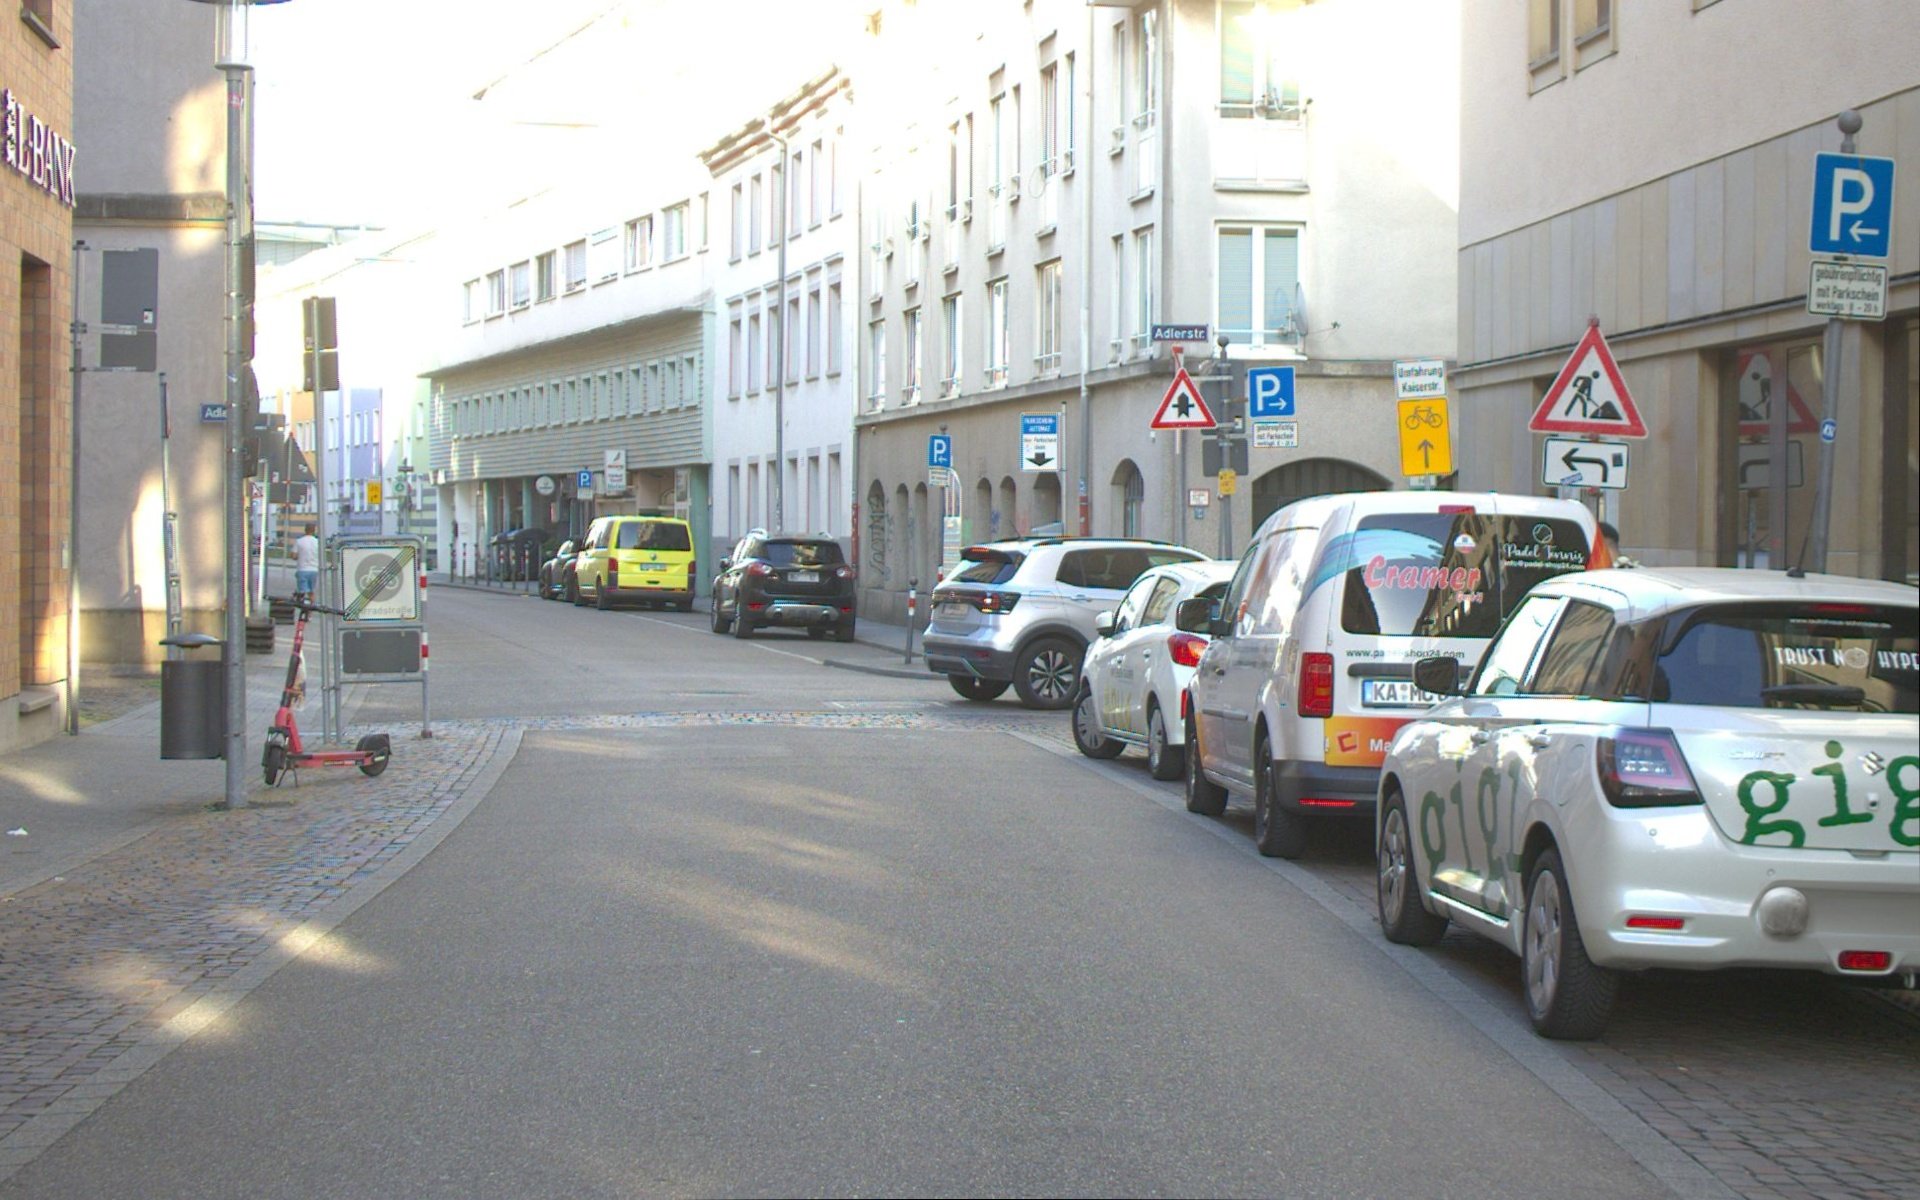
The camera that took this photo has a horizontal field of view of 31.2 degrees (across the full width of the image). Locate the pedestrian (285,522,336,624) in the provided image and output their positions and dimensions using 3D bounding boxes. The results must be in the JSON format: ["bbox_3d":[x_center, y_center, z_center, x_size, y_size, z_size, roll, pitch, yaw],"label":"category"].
[{"bbox_3d":[-11.039,-0.455,58.408,0.765,1.718,0.687,0,1,-17],"label":"pedestrian"}]

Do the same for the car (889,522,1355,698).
[{"bbox_3d":[1.525,0.052,32.368,3.986,1.557,1.843,-1,2,-25],"label":"car"}]

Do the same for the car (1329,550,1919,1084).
[{"bbox_3d":[2.608,0.623,12.108,1.840,1.473,4.169,3,1,-4],"label":"car"}]

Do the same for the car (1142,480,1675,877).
[{"bbox_3d":[2.200,0.313,18.398,1.830,1.785,5.215,1,1,-3],"label":"car"}]

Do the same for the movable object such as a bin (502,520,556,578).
[{"bbox_3d":[-11.837,-1.405,94.325,1.131,1.552,1.740,0,1,-19],"label":"movable object such as a bin"}]

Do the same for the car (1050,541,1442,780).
[{"bbox_3d":[1.916,0.364,24.342,1.888,1.513,4.064,1,1,-8],"label":"car"}]

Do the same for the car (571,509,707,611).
[{"bbox_3d":[-6.596,-0.850,70.350,2.052,2.007,4.176,0,1,-16],"label":"car"}]

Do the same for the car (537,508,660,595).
[{"bbox_3d":[-8.033,-1.097,76.062,2.052,1.866,4.102,0,1,-16],"label":"car"}]

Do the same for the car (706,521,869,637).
[{"bbox_3d":[-2.758,-0.359,54.073,1.967,1.686,4.102,2,1,-11],"label":"car"}]

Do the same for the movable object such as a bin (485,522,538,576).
[{"bbox_3d":[-12.525,-1.424,95.992,1.131,1.474,1.740,0,1,-19],"label":"movable object such as a bin"}]

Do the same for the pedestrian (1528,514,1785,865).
[{"bbox_3d":[3.673,0.453,18.237,1.042,1.795,1.199,0,1,-3],"label":"pedestrian"}]

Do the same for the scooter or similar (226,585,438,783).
[{"bbox_3d":[-4.068,0.525,22.343,0.698,1.213,1.355,0,1,24],"label":"scooter or similar"}]
